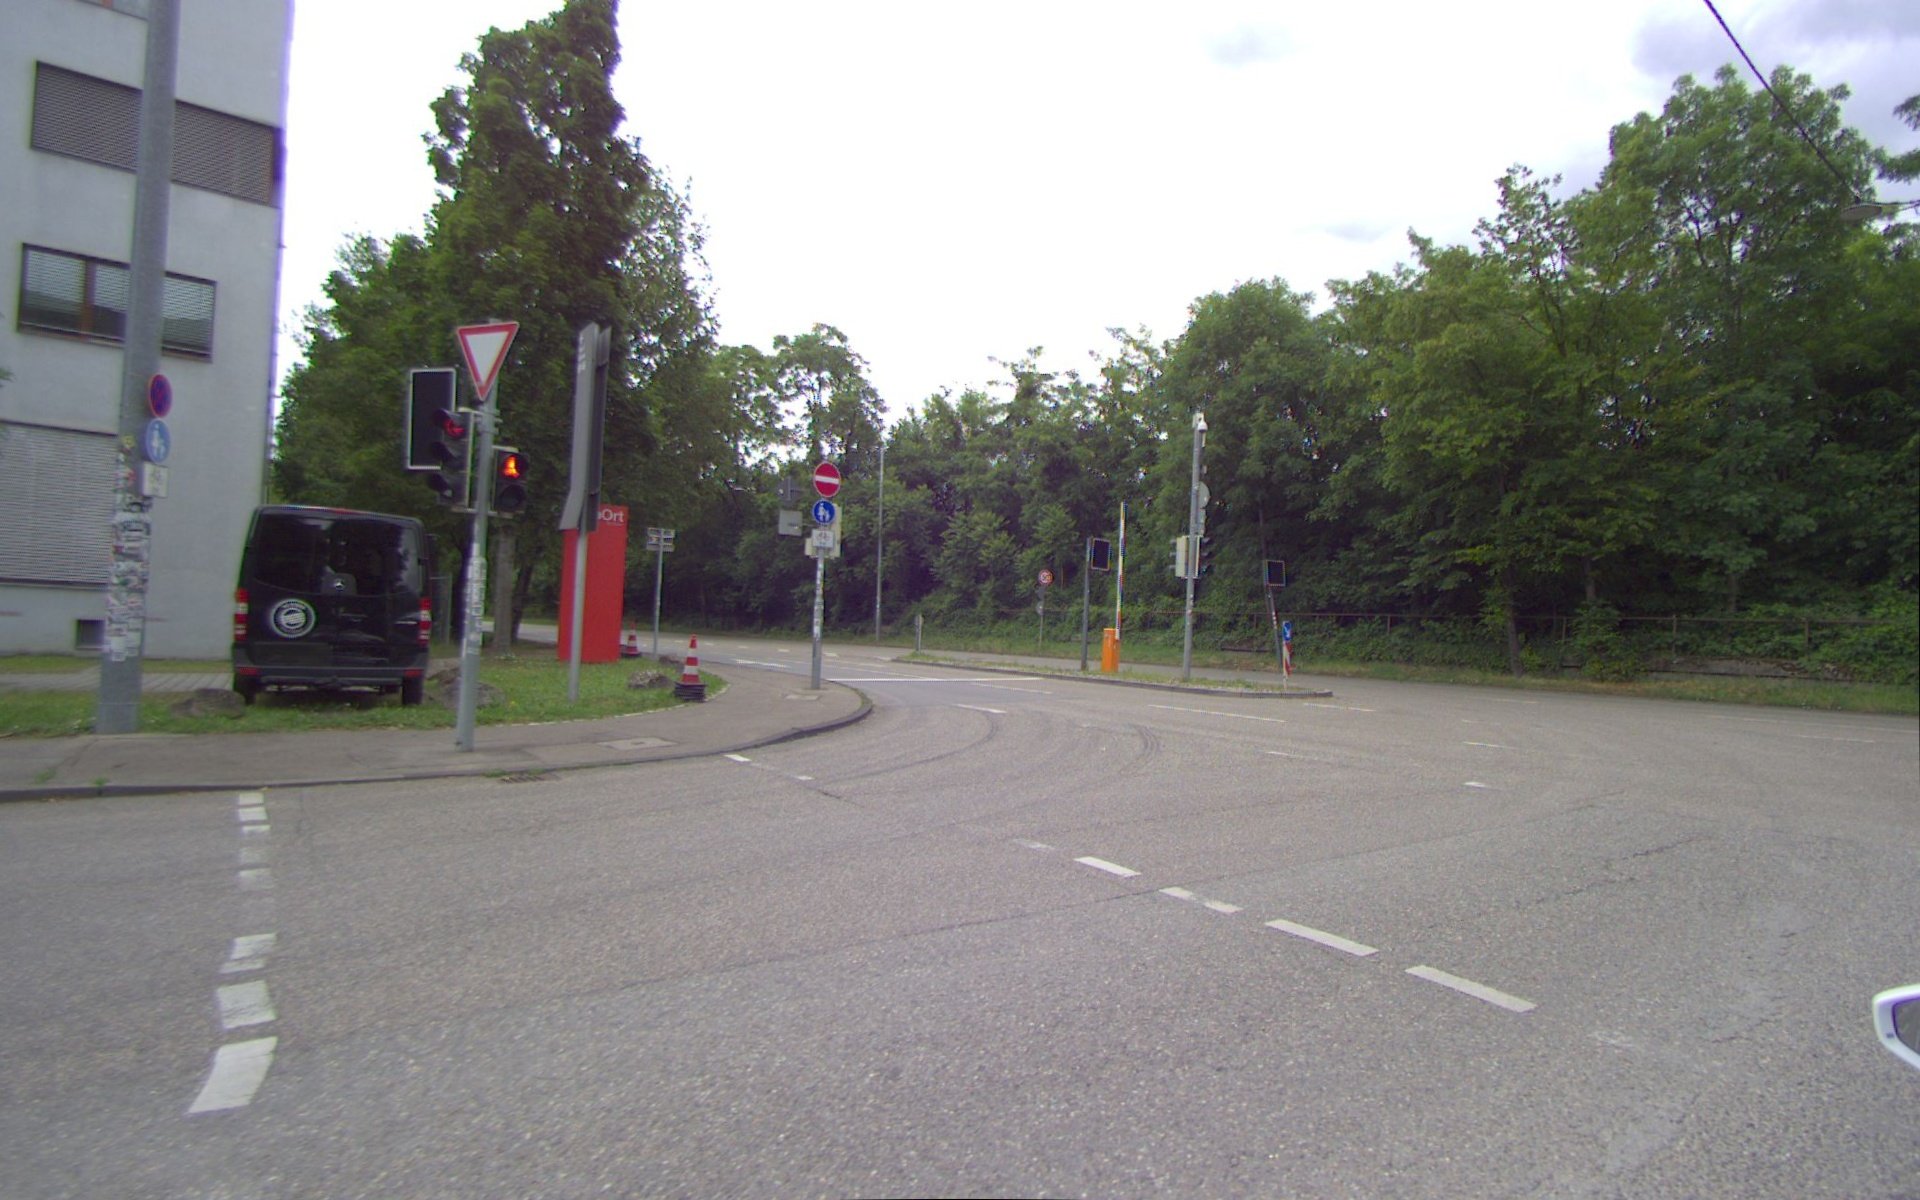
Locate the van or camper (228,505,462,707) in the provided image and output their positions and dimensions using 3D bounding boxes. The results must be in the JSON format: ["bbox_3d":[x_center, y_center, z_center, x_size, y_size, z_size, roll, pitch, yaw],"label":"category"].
[{"bbox_3d":[-8.298,0.223,13.545,2.147,2.137,5.594,3,-4,-33],"label":"van or camper"}]
